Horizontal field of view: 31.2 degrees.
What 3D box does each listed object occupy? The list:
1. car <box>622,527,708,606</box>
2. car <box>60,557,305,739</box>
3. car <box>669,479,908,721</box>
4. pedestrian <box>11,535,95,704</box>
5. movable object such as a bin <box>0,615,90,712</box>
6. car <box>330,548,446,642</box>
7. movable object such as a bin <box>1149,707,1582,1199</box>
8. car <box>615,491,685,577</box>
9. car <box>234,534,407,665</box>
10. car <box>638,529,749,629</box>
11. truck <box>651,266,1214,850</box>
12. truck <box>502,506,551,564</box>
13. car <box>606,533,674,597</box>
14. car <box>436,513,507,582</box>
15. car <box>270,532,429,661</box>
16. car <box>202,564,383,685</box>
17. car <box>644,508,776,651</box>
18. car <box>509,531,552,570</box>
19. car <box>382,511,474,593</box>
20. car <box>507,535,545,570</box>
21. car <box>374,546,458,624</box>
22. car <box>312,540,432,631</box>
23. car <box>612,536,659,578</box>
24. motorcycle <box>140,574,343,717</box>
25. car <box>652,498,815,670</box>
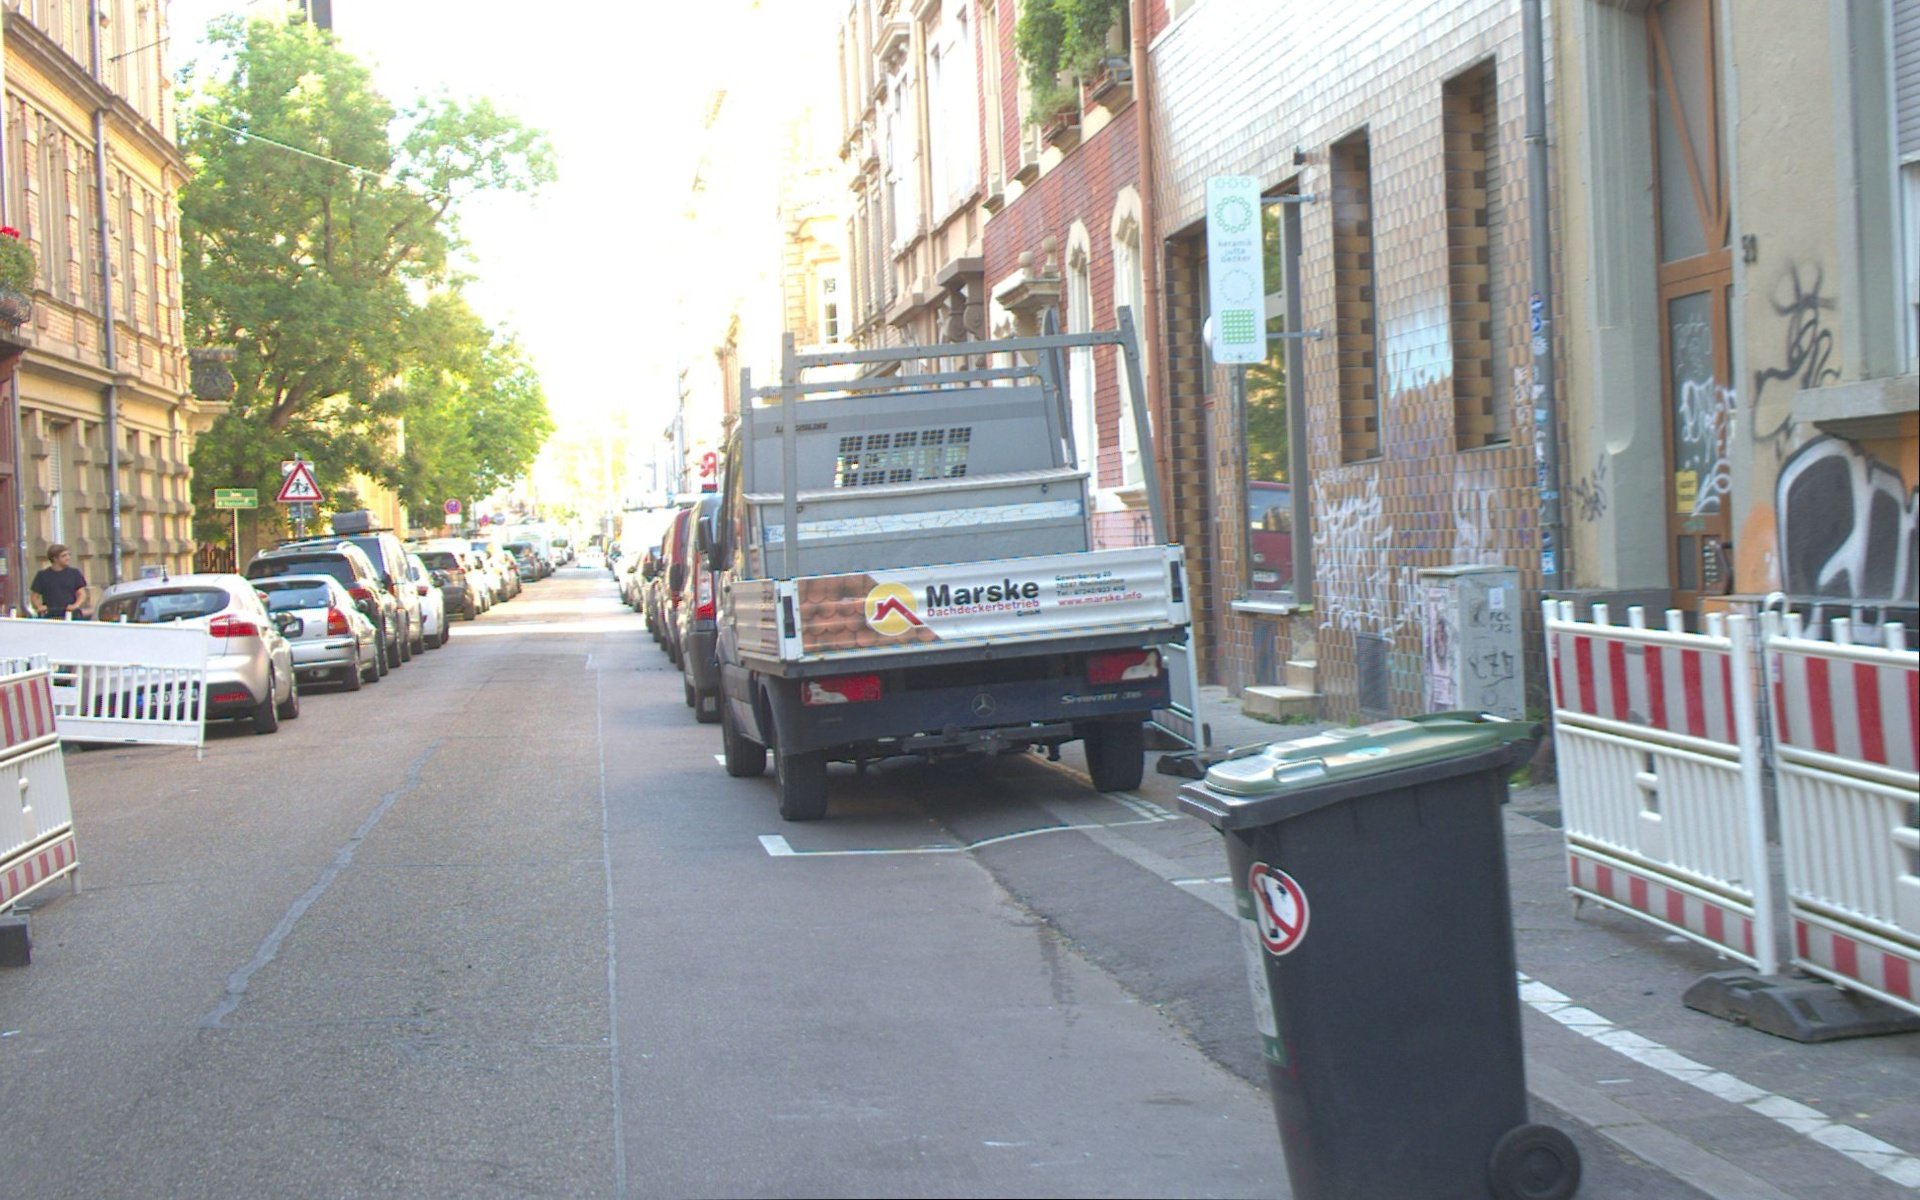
[{"bbox_3d":[-6.913,-0.799,80.287,1.703,1.708,3.939,-3,1,-8],"label":"car"},{"bbox_3d":[-6.992,0.379,31.258,1.674,1.414,4.001,-4,1,-7],"label":"car"},{"bbox_3d":[-1.599,-0.044,30.520,1.844,1.977,4.577,0,1,-6],"label":"car"},{"bbox_3d":[-9.734,0.200,36.922,0.685,1.759,0.888,-3,1,-9],"label":"pedestrian"},{"bbox_3d":[-9.517,0.654,35.789,0.761,0.929,1.416,-3,1,-10],"label":"movable object such as a bin"},{"bbox_3d":[-9.141,-0.108,55.157,1.673,1.415,3.875,-1,1,-7],"label":"car"},{"bbox_3d":[0.854,0.795,7.377,0.740,1.053,0.687,-3,1,-6],"label":"movable object such as a bin"},{"bbox_3d":[-9.890,-2.099,109.467,2.068,2.602,5.889,-2,1,-6],"label":"car"},{"bbox_3d":[-8.387,-0.046,45.418,1.787,1.619,4.609,-1,1,-5],"label":"car"},{"bbox_3d":[-4.364,-0.378,55.915,1.666,1.474,3.888,-2,2,-5],"label":"car"},{"bbox_3d":[-0.398,-0.270,20.048,2.148,2.648,6.255,-7,2,-8],"label":"truck"},{"bbox_3d":[-25.587,-3.855,203.129,2.531,3.270,6.996,-3,1,-6],"label":"truck"},{"bbox_3d":[-8.831,-0.966,94.802,1.807,1.684,4.215,-1,1,-5],"label":"car"},{"bbox_3d":[-14.902,-1.608,105.069,1.864,1.950,4.611,-4,1,-6],"label":"car"},{"bbox_3d":[-8.944,-0.091,50.656,1.892,1.778,4.609,-1,1,-5],"label":"car"},{"bbox_3d":[-7.724,0.254,40.061,1.698,1.309,4.001,1,1,-6],"label":"car"},{"bbox_3d":[-3.677,-0.326,49.993,1.769,1.954,4.265,-1,1,-6],"label":"car"},{"bbox_3d":[-20.596,-2.387,164.954,1.875,1.790,4.001,-3,1,-6],"label":"car"},{"bbox_3d":[-12.862,-1.183,83.332,1.845,1.856,4.466,-2,2,-5],"label":"car"},{"bbox_3d":[-23.588,-2.595,186.789,1.875,1.790,4.001,-3,1,-9],"label":"car"},{"bbox_3d":[-12.277,-0.367,77.827,1.740,1.641,4.290,-3,1,-8],"label":"car"},{"bbox_3d":[-10.117,-0.275,59.349,1.722,1.476,4.090,-1,1,-6],"label":"car"},{"bbox_3d":[-11.801,-1.580,125.224,1.603,1.499,4.001,-1,1,-5],"label":"car"},{"bbox_3d":[-7.581,0.491,36.203,2.195,1.355,0.842,-4,2,42],"label":"motorcycle"},{"bbox_3d":[-2.882,-0.234,42.898,1.831,2.007,4.743,-1,1,-6],"label":"car"}]
